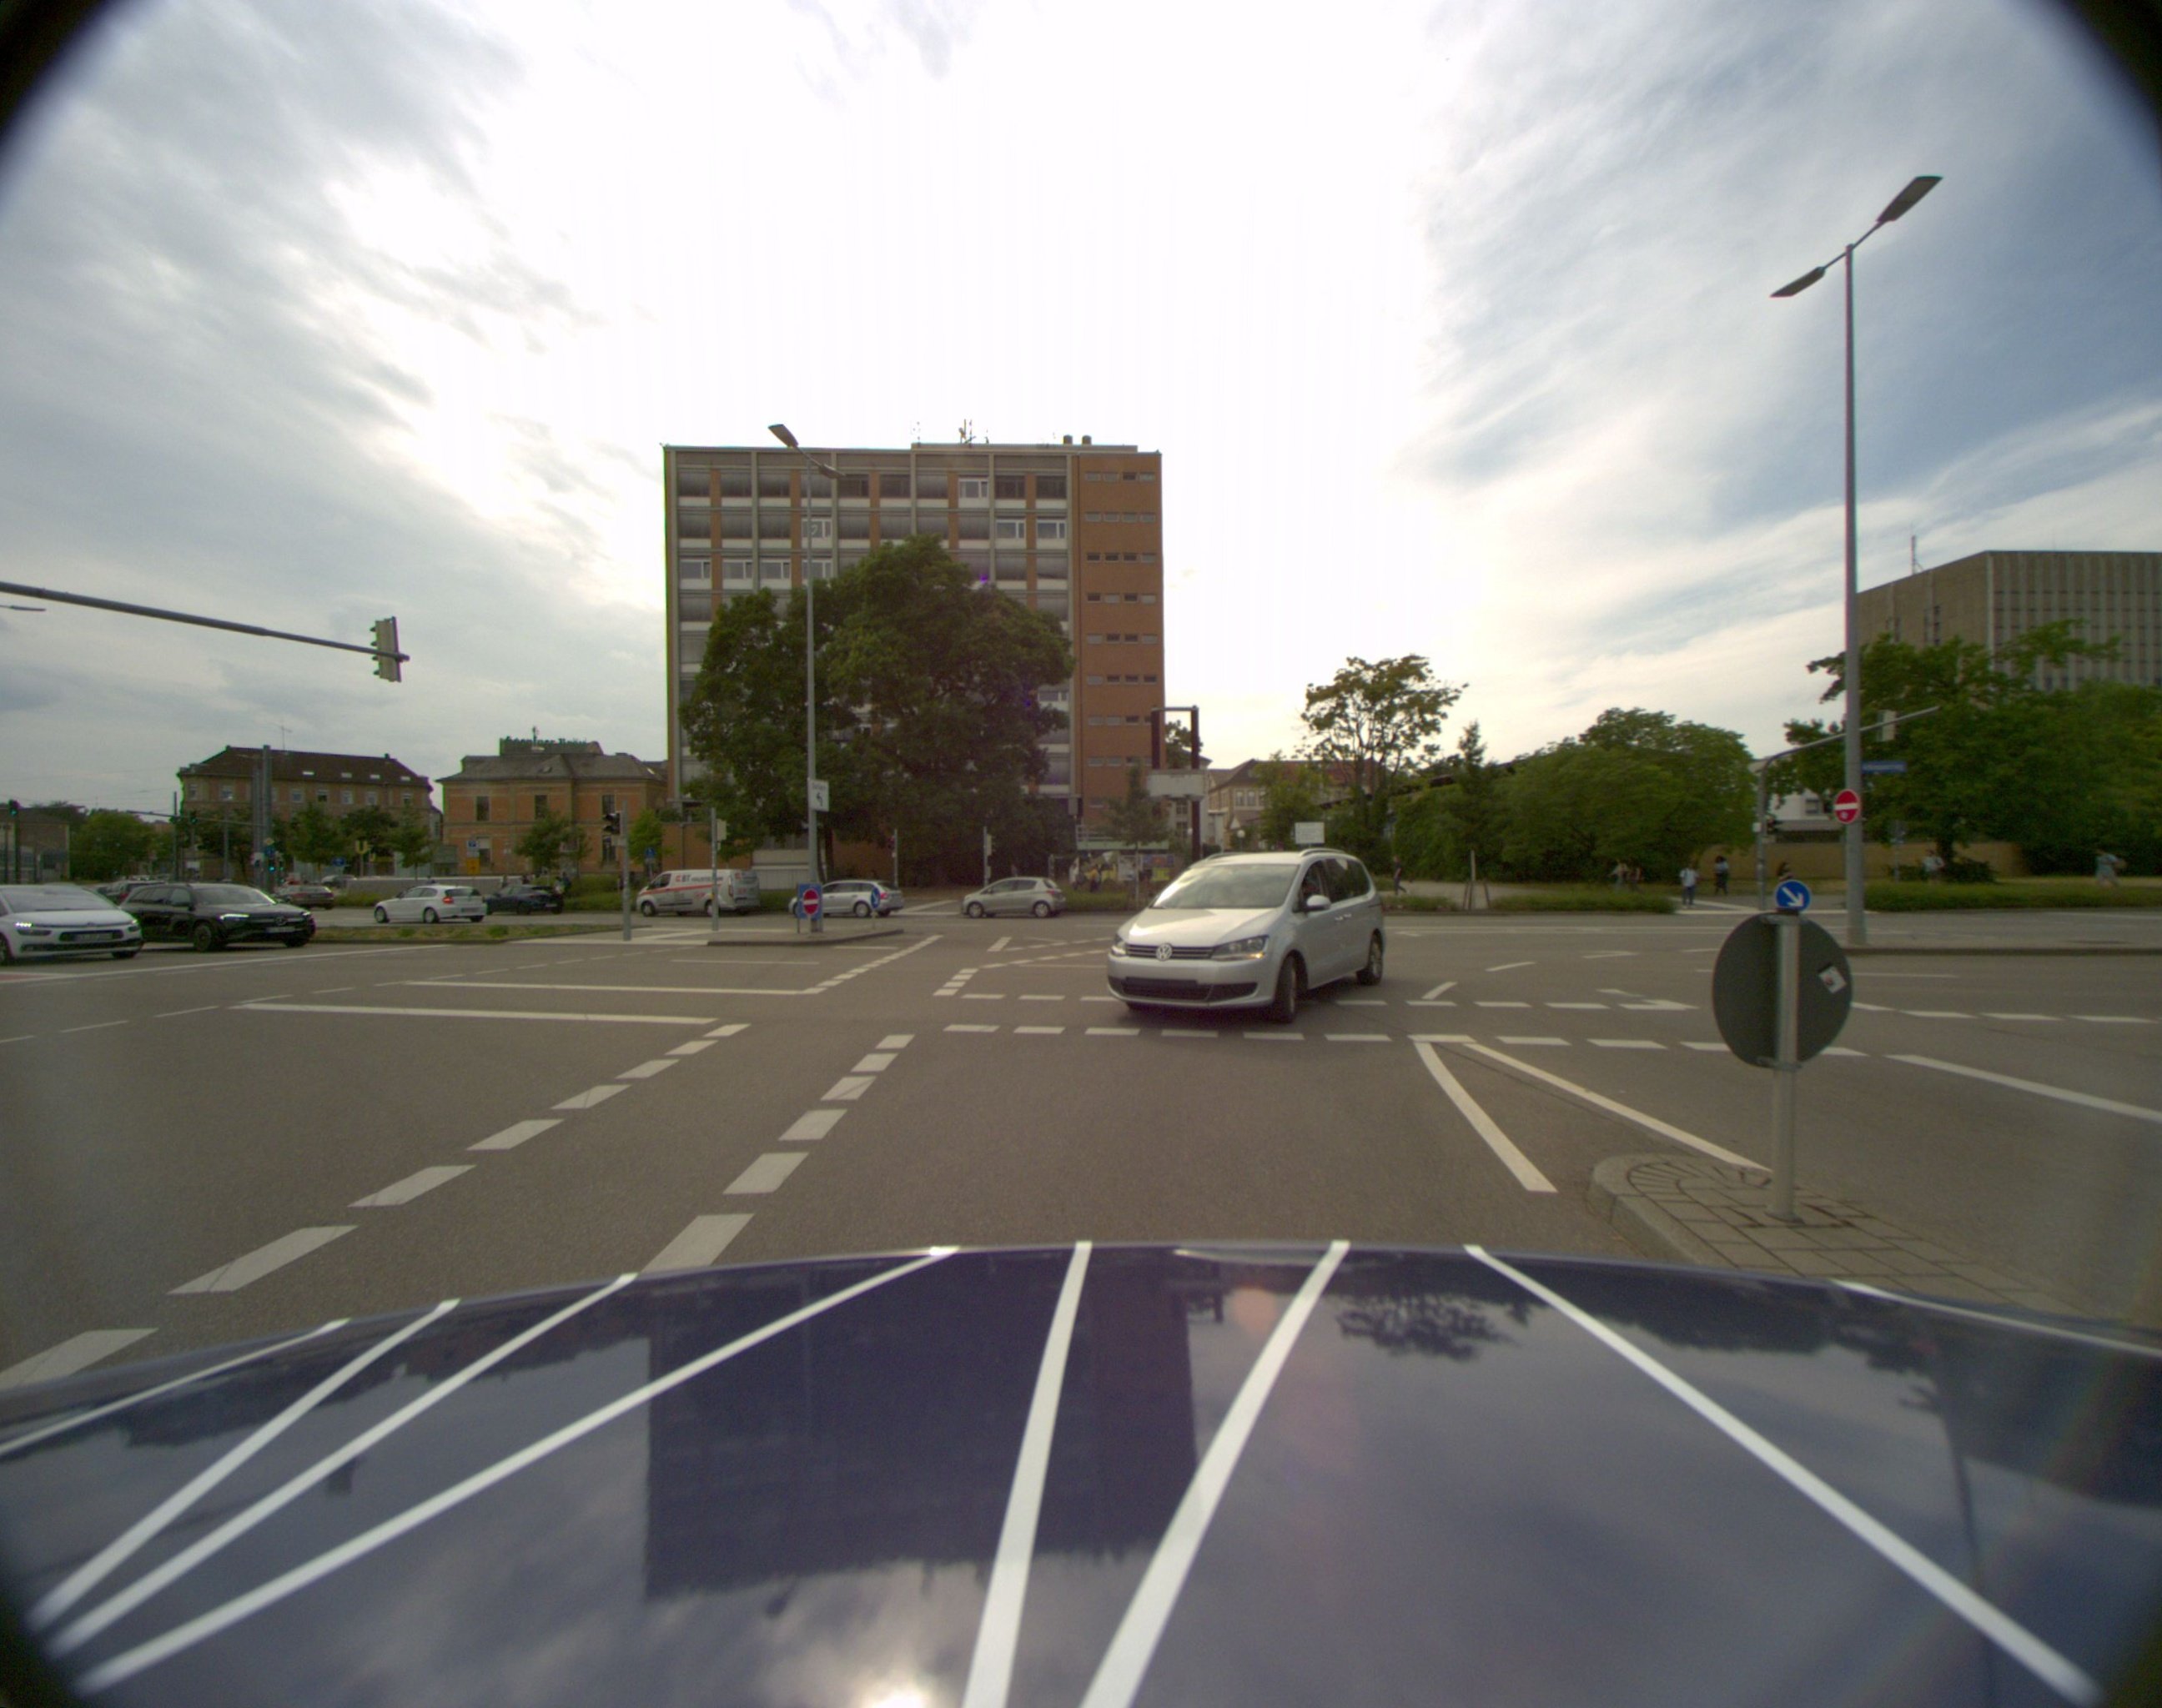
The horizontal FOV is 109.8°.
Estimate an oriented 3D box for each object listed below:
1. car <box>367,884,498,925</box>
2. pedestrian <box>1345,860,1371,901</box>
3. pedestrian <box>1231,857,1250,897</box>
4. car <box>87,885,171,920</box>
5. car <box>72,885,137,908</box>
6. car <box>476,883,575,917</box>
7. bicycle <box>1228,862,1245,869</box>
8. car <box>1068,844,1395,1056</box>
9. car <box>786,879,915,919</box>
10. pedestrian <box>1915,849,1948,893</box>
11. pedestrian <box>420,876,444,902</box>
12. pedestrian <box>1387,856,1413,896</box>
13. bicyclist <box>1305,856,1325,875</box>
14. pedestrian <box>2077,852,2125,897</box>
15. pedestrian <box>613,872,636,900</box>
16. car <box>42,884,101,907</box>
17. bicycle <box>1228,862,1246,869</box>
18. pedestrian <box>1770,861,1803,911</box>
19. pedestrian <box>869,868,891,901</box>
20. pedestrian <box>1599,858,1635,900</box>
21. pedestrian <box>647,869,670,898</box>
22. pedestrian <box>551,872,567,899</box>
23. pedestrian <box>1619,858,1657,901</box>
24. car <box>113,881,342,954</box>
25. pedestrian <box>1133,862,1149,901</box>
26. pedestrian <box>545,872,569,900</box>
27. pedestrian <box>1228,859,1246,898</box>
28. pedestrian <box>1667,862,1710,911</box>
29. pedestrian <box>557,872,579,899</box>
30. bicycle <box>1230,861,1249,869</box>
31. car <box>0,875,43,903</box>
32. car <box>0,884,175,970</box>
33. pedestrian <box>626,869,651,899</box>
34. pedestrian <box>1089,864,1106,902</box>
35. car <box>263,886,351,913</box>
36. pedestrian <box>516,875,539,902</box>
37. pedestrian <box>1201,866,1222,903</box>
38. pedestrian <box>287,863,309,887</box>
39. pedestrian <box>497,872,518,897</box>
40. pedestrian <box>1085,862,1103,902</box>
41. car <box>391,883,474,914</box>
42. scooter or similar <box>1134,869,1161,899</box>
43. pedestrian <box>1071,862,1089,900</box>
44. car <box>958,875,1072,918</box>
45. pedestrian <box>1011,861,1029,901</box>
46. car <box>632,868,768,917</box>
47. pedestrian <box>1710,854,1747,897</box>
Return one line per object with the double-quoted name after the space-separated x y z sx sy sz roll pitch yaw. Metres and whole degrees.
-24.430 1.883 28.651 4.215 1.449 1.763 -2 -2 17 "car"
11.707 1.135 32.102 0.799 1.700 0.840 -1 -2 5 "pedestrian"
6.995 1.012 33.350 0.707 1.700 0.640 -1 -2 5 "pedestrian"
-47.669 2.419 38.025 4.674 1.640 1.764 -2 -2 28 "car"
-63.933 2.795 49.741 3.990 1.411 1.719 -2 -2 24 "car"
-26.003 2.153 35.564 3.993 1.523 1.867 -2 -2 21 "car"
16.864 1.295 82.381 1.842 0.689 0.653 -2 -2 10 "bicycle"
1.964 0.858 8.546 1.820 1.723 4.539 -3 -3 36 "car"
-8.996 1.751 29.770 4.520 1.465 1.828 -2 -2 13 "car"
33.686 0.668 30.105 0.694 1.686 0.544 -1 2 -1 "pedestrian"
-39.230 2.102 45.926 0.810 1.565 0.782 -1 2 28 "pedestrian"
13.922 0.956 33.165 0.799 1.700 0.840 -1 -2 5 "pedestrian"
16.090 0.771 52.304 0.840 1.269 1.011 0 -2 -22 "bicyclist"
39.870 0.801 29.708 0.694 1.700 0.842 -1 -2 -1 "pedestrian"
-25.733 1.795 42.818 0.810 1.565 0.782 -1 2 28 "pedestrian"
-74.633 3.096 56.179 3.538 1.605 1.844 -2 -2 23 "car"
16.181 1.191 78.892 1.842 0.689 0.653 -2 -2 10 "bicycle"
24.082 1.091 25.947 0.587 1.700 0.481 -1 -2 7 "pedestrian"
-10.056 1.514 38.027 0.811 1.565 0.780 -1 1 5 "pedestrian"
22.139 1.022 31.374 0.800 1.700 0.839 -1 -2 -13 "pedestrian"
-23.601 1.666 42.441 0.810 1.565 0.781 -1 2 24 "pedestrian"
-30.223 1.826 43.986 0.550 1.528 0.548 -2 2 -18 "pedestrian"
22.333 1.022 30.475 0.800 1.700 0.839 -1 -2 -13 "pedestrian"
-21.092 1.539 18.829 4.503 1.640 2.003 -2 -2 16 "car"
2.743 1.250 34.650 0.707 1.701 0.640 -1 2 5 "pedestrian"
-30.236 1.855 43.868 0.810 1.565 0.782 -1 2 28 "pedestrian"
7.010 1.092 34.125 0.707 1.700 0.640 -1 -2 5 "pedestrian"
21.552 1.147 26.957 0.838 1.700 0.800 -1 -2 7 "pedestrian"
-30.503 1.868 45.180 0.810 1.565 0.782 -1 2 28 "pedestrian"
16.115 1.122 77.420 1.842 0.689 0.653 -2 -2 10 "bicycle"
-61.031 1.986 42.809 3.436 1.480 1.673 -1 -1 10 "car"
-22.106 1.504 16.209 4.282 1.640 2.003 -2 -2 16 "car"
-24.048 1.631 41.287 0.810 1.565 0.781 -1 2 24 "pedestrian"
0.738 1.311 34.238 0.707 1.700 0.640 -1 -2 5 "pedestrian"
-42.806 2.506 42.022 3.692 1.411 2.143 -2 -2 22 "car"
-33.293 2.053 45.705 0.810 1.565 0.782 -1 2 28 "pedestrian"
5.590 1.308 32.578 0.799 1.534 0.839 -1 2 5 "pedestrian"
-53.463 1.429 51.867 0.810 1.565 0.782 -1 2 28 "pedestrian"
-36.745 1.947 48.669 0.810 1.565 0.782 -1 2 28 "pedestrian"
0.574 1.222 33.417 0.707 1.701 0.640 -1 1 5 "pedestrian"
-32.501 2.226 38.082 3.626 1.498 1.675 -2 -2 23 "car"
3.094 1.418 35.514 1.148 1.362 0.399 -1 -2 -8 "scooter or similar"
-0.038 1.246 35.040 0.707 1.701 0.640 -1 0 5 "pedestrian"
-2.418 1.566 28.204 3.869 1.480 1.674 -2 -2 13 "car"
-2.894 1.284 35.899 0.707 1.841 0.640 -1 1 5 "pedestrian"
-15.979 1.620 31.878 5.195 1.947 1.828 -2 -2 15 "car"
25.911 0.863 30.399 0.799 1.700 0.715 -1 -2 -1 "pedestrian"
